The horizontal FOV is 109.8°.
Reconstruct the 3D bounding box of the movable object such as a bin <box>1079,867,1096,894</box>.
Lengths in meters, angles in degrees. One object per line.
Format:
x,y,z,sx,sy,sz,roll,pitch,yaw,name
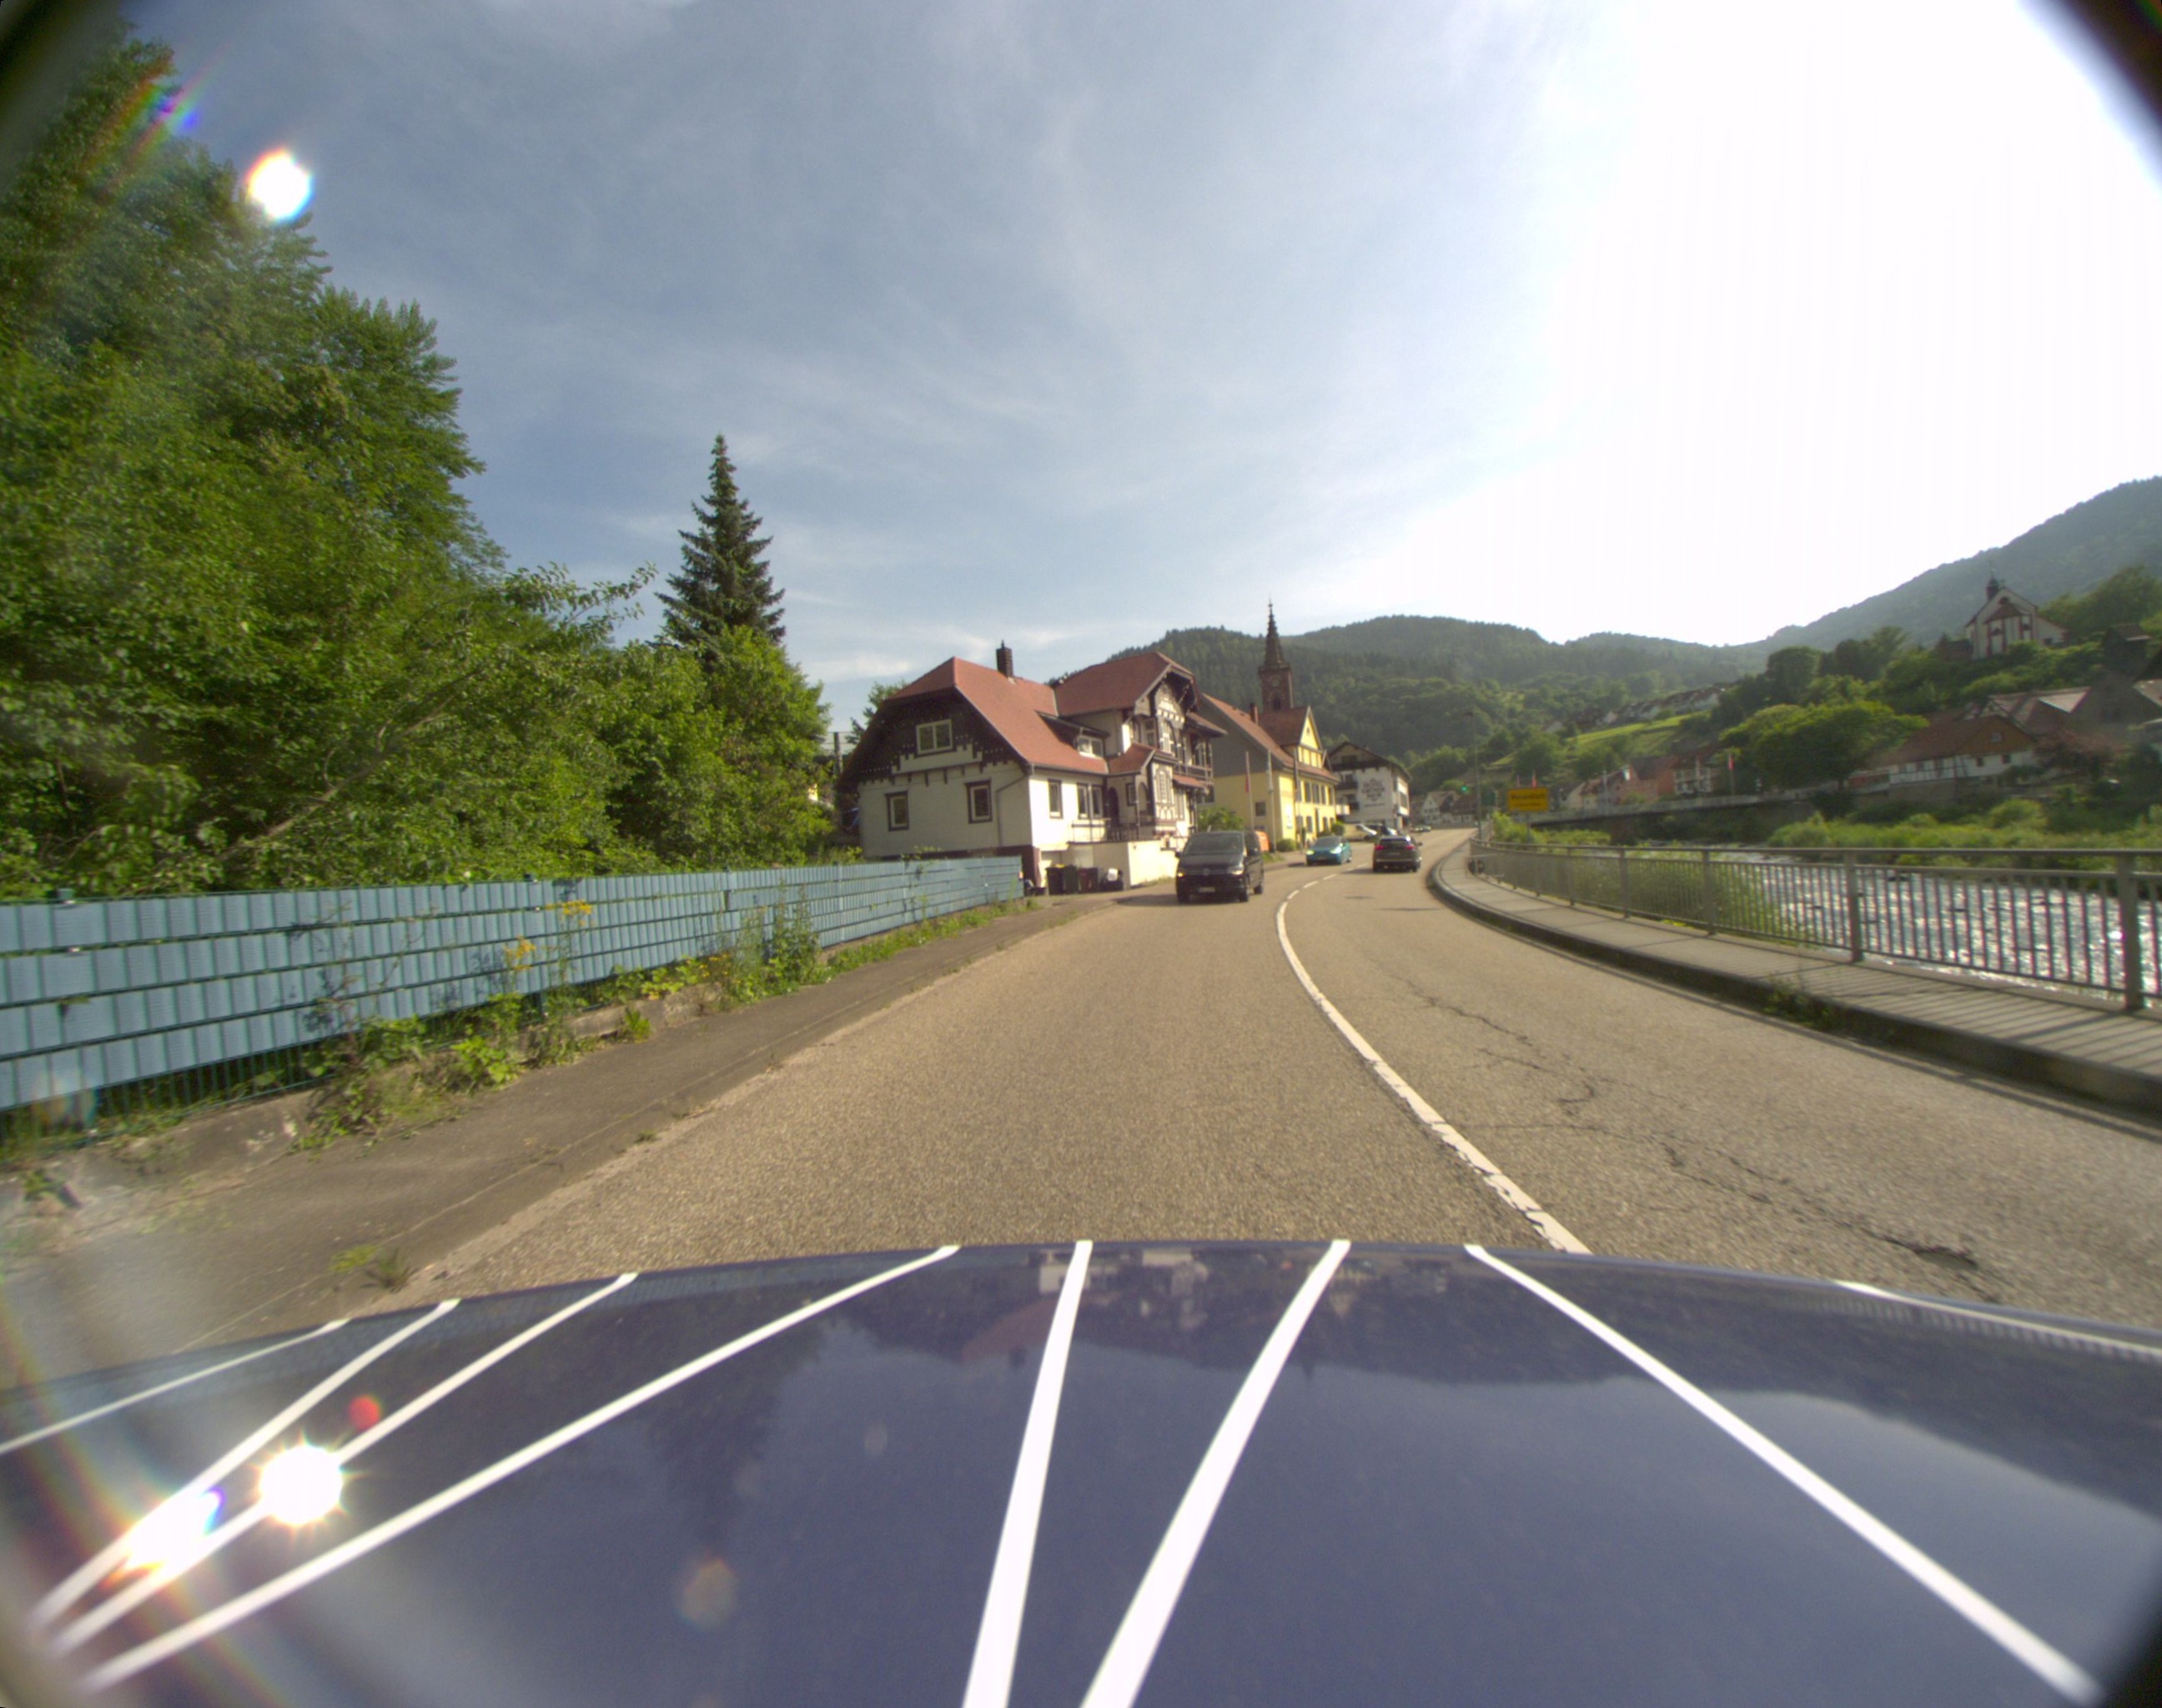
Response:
0.218,0.936,26.669,0.368,0.895,0.548,-4,1,19,movable object such as a bin

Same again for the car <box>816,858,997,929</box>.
-4.471,0.988,19.874,4.330,1.460,1.836,-3,-1,-11,car

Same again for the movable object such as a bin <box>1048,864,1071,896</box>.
-0.757,0.912,27.031,0.478,1.056,0.754,-4,1,25,movable object such as a bin

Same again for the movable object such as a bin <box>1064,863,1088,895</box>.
-0.174,0.879,26.912,0.478,1.056,0.754,-4,1,25,movable object such as a bin

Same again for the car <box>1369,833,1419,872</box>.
14.133,-0.109,34.175,1.816,1.634,4.006,1,2,26,car

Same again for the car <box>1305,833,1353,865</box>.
13.451,-0.294,41.029,1.679,1.513,3.872,-1,2,30,car

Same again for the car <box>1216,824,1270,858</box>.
10.169,-0.848,47.383,1.909,1.986,4.843,1,2,30,car

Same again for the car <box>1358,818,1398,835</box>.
34.690,-3.185,88.764,3.989,1.871,1.688,0,3,32,car

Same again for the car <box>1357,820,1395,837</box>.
33.550,-2.926,86.403,3.748,1.883,1.374,1,4,31,car

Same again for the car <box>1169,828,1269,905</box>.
4.098,0.248,21.822,1.884,1.953,4.872,-1,1,21,car

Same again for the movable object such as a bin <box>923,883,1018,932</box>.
-2.517,1.215,17.758,0.856,0.842,2.542,-5,0,26,movable object such as a bin

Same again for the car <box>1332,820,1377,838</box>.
30.582,-2.822,84.959,4.444,1.948,1.716,2,4,31,car

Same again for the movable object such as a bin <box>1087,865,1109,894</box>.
0.579,0.886,26.287,0.472,0.931,0.653,-4,1,25,movable object such as a bin
